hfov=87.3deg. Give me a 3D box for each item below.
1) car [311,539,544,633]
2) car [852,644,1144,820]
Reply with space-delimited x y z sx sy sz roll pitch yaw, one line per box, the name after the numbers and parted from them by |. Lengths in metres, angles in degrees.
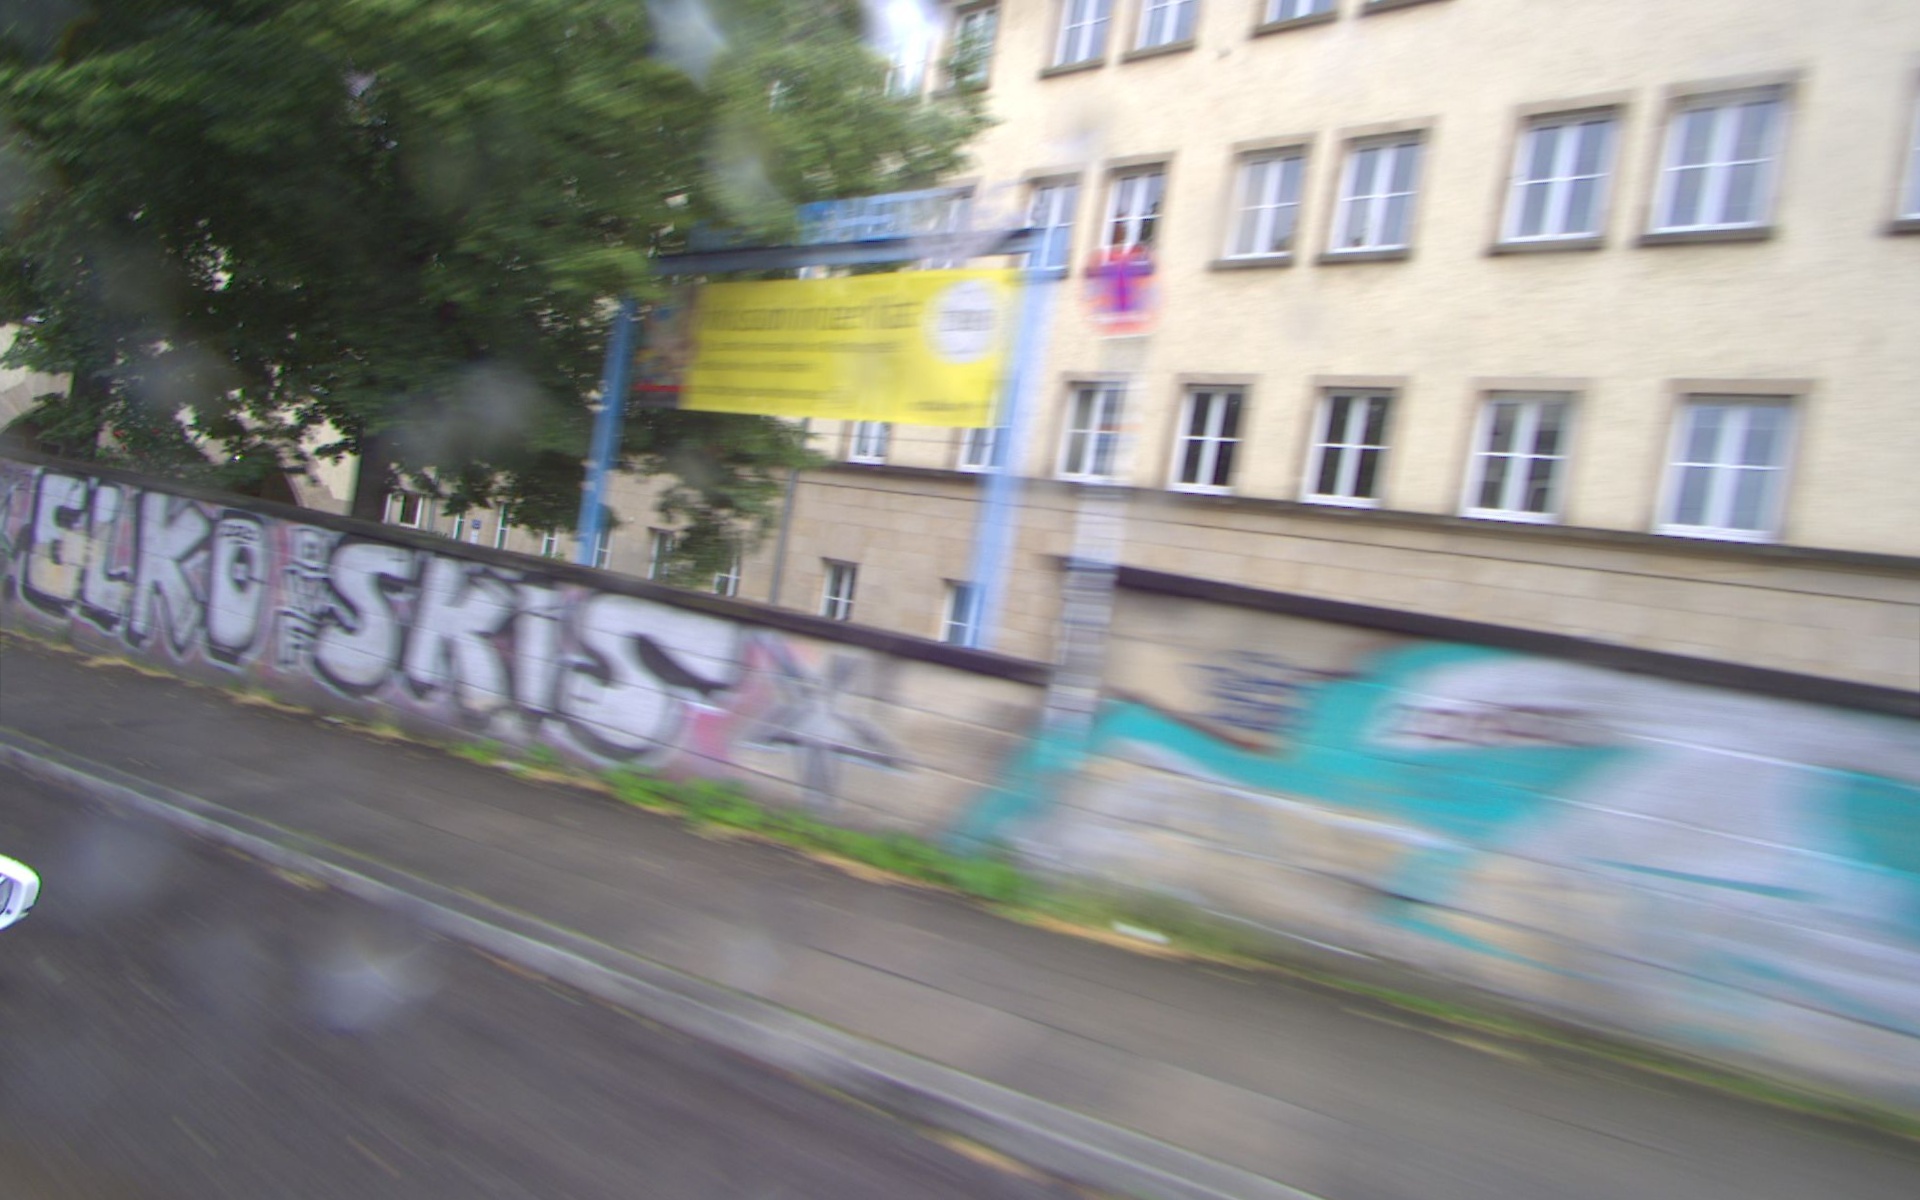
-12.460 -0.275 23.830 1.766 1.608 4.453 9 1 34 | car
0.681 1.768 13.699 1.768 1.813 4.127 7 -2 37 | car
